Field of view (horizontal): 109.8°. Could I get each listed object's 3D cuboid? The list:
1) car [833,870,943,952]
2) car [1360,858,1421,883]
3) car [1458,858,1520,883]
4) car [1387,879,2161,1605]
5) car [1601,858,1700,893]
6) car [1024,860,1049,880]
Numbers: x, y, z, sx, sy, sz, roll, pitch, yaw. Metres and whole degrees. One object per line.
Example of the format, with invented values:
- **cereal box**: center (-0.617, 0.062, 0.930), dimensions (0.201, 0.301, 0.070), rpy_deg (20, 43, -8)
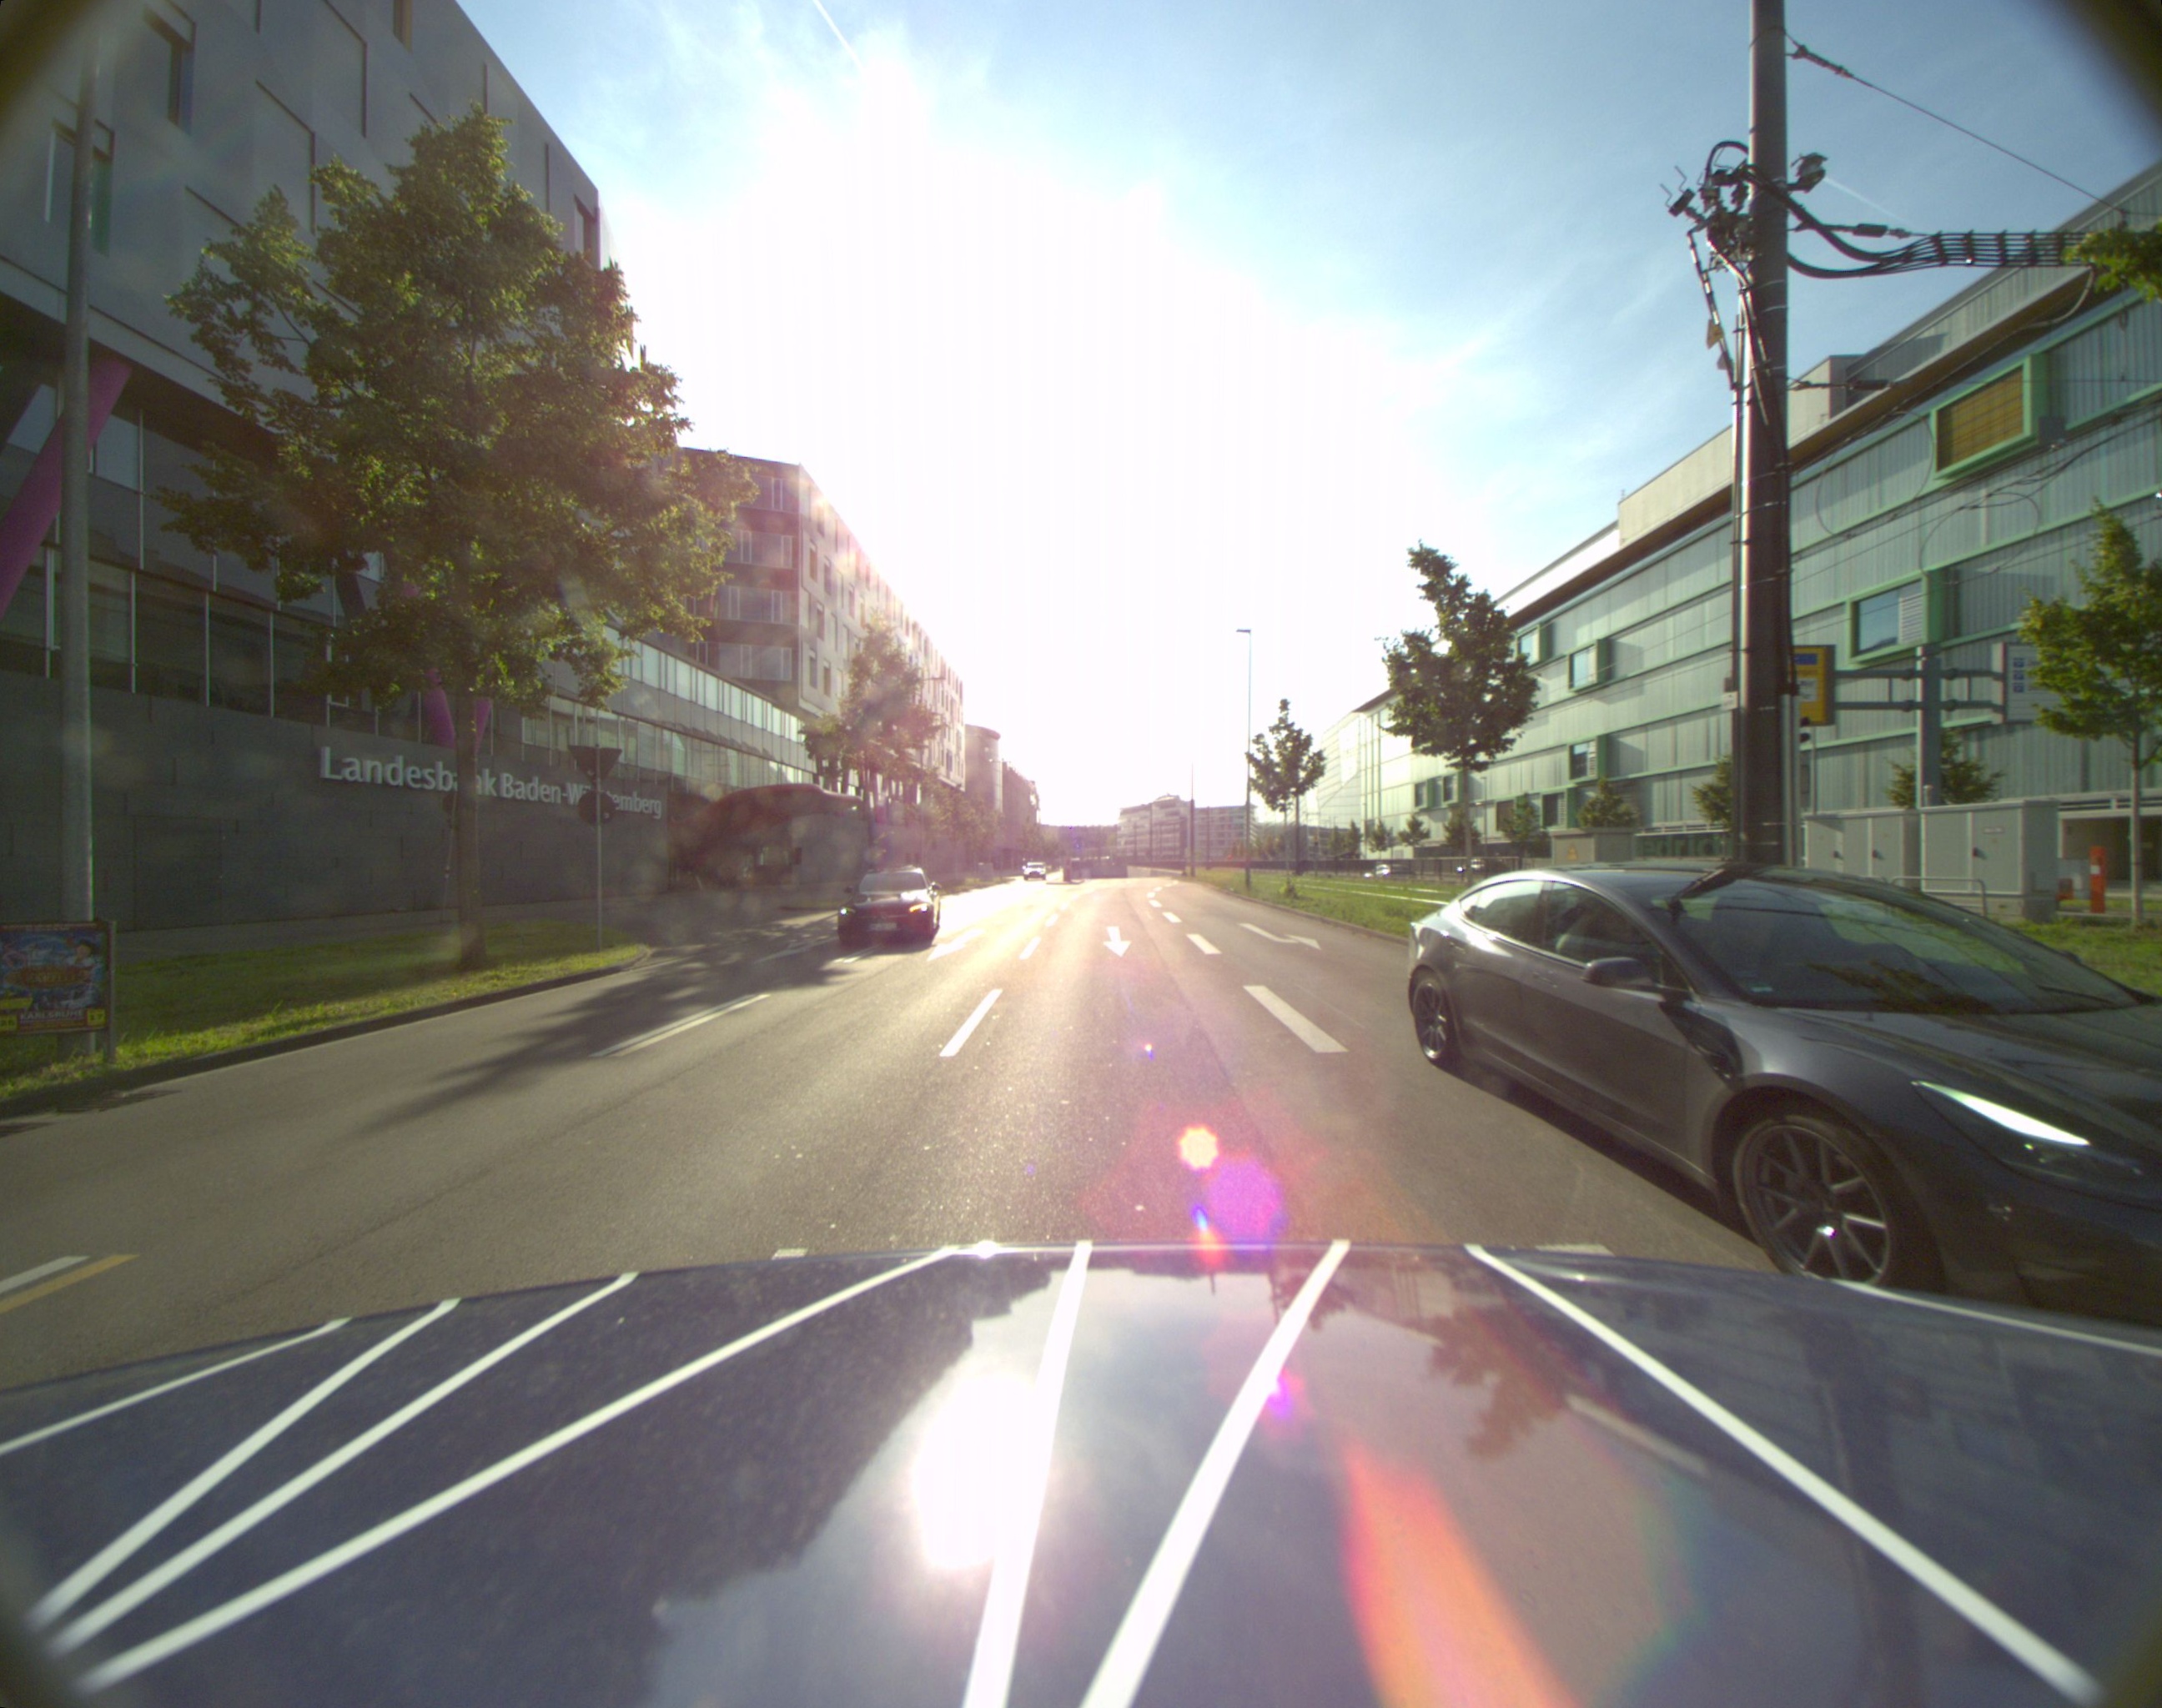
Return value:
- **car**: center (-4.005, 1.106, 16.430), dimensions (1.845, 1.441, 4.552), rpy_deg (-1, -1, -9)
- **car**: center (20.327, 1.054, 50.114), dimensions (1.998, 1.519, 4.913), rpy_deg (0, 0, 0)
- **car**: center (28.528, 1.120, 53.290), dimensions (1.998, 1.677, 4.617), rpy_deg (0, 0, 1)
- **car**: center (3.267, 0.897, 3.616), dimensions (1.894, 1.377, 4.335), rpy_deg (-2, 0, 1)
- **car**: center (28.255, 1.002, 37.895), dimensions (1.913, 1.625, 4.180), rpy_deg (0, 0, 2)
- **car**: center (-3.767, 1.335, 65.275), dimensions (1.894, 1.418, 4.471), rpy_deg (-1, 3, 0)
